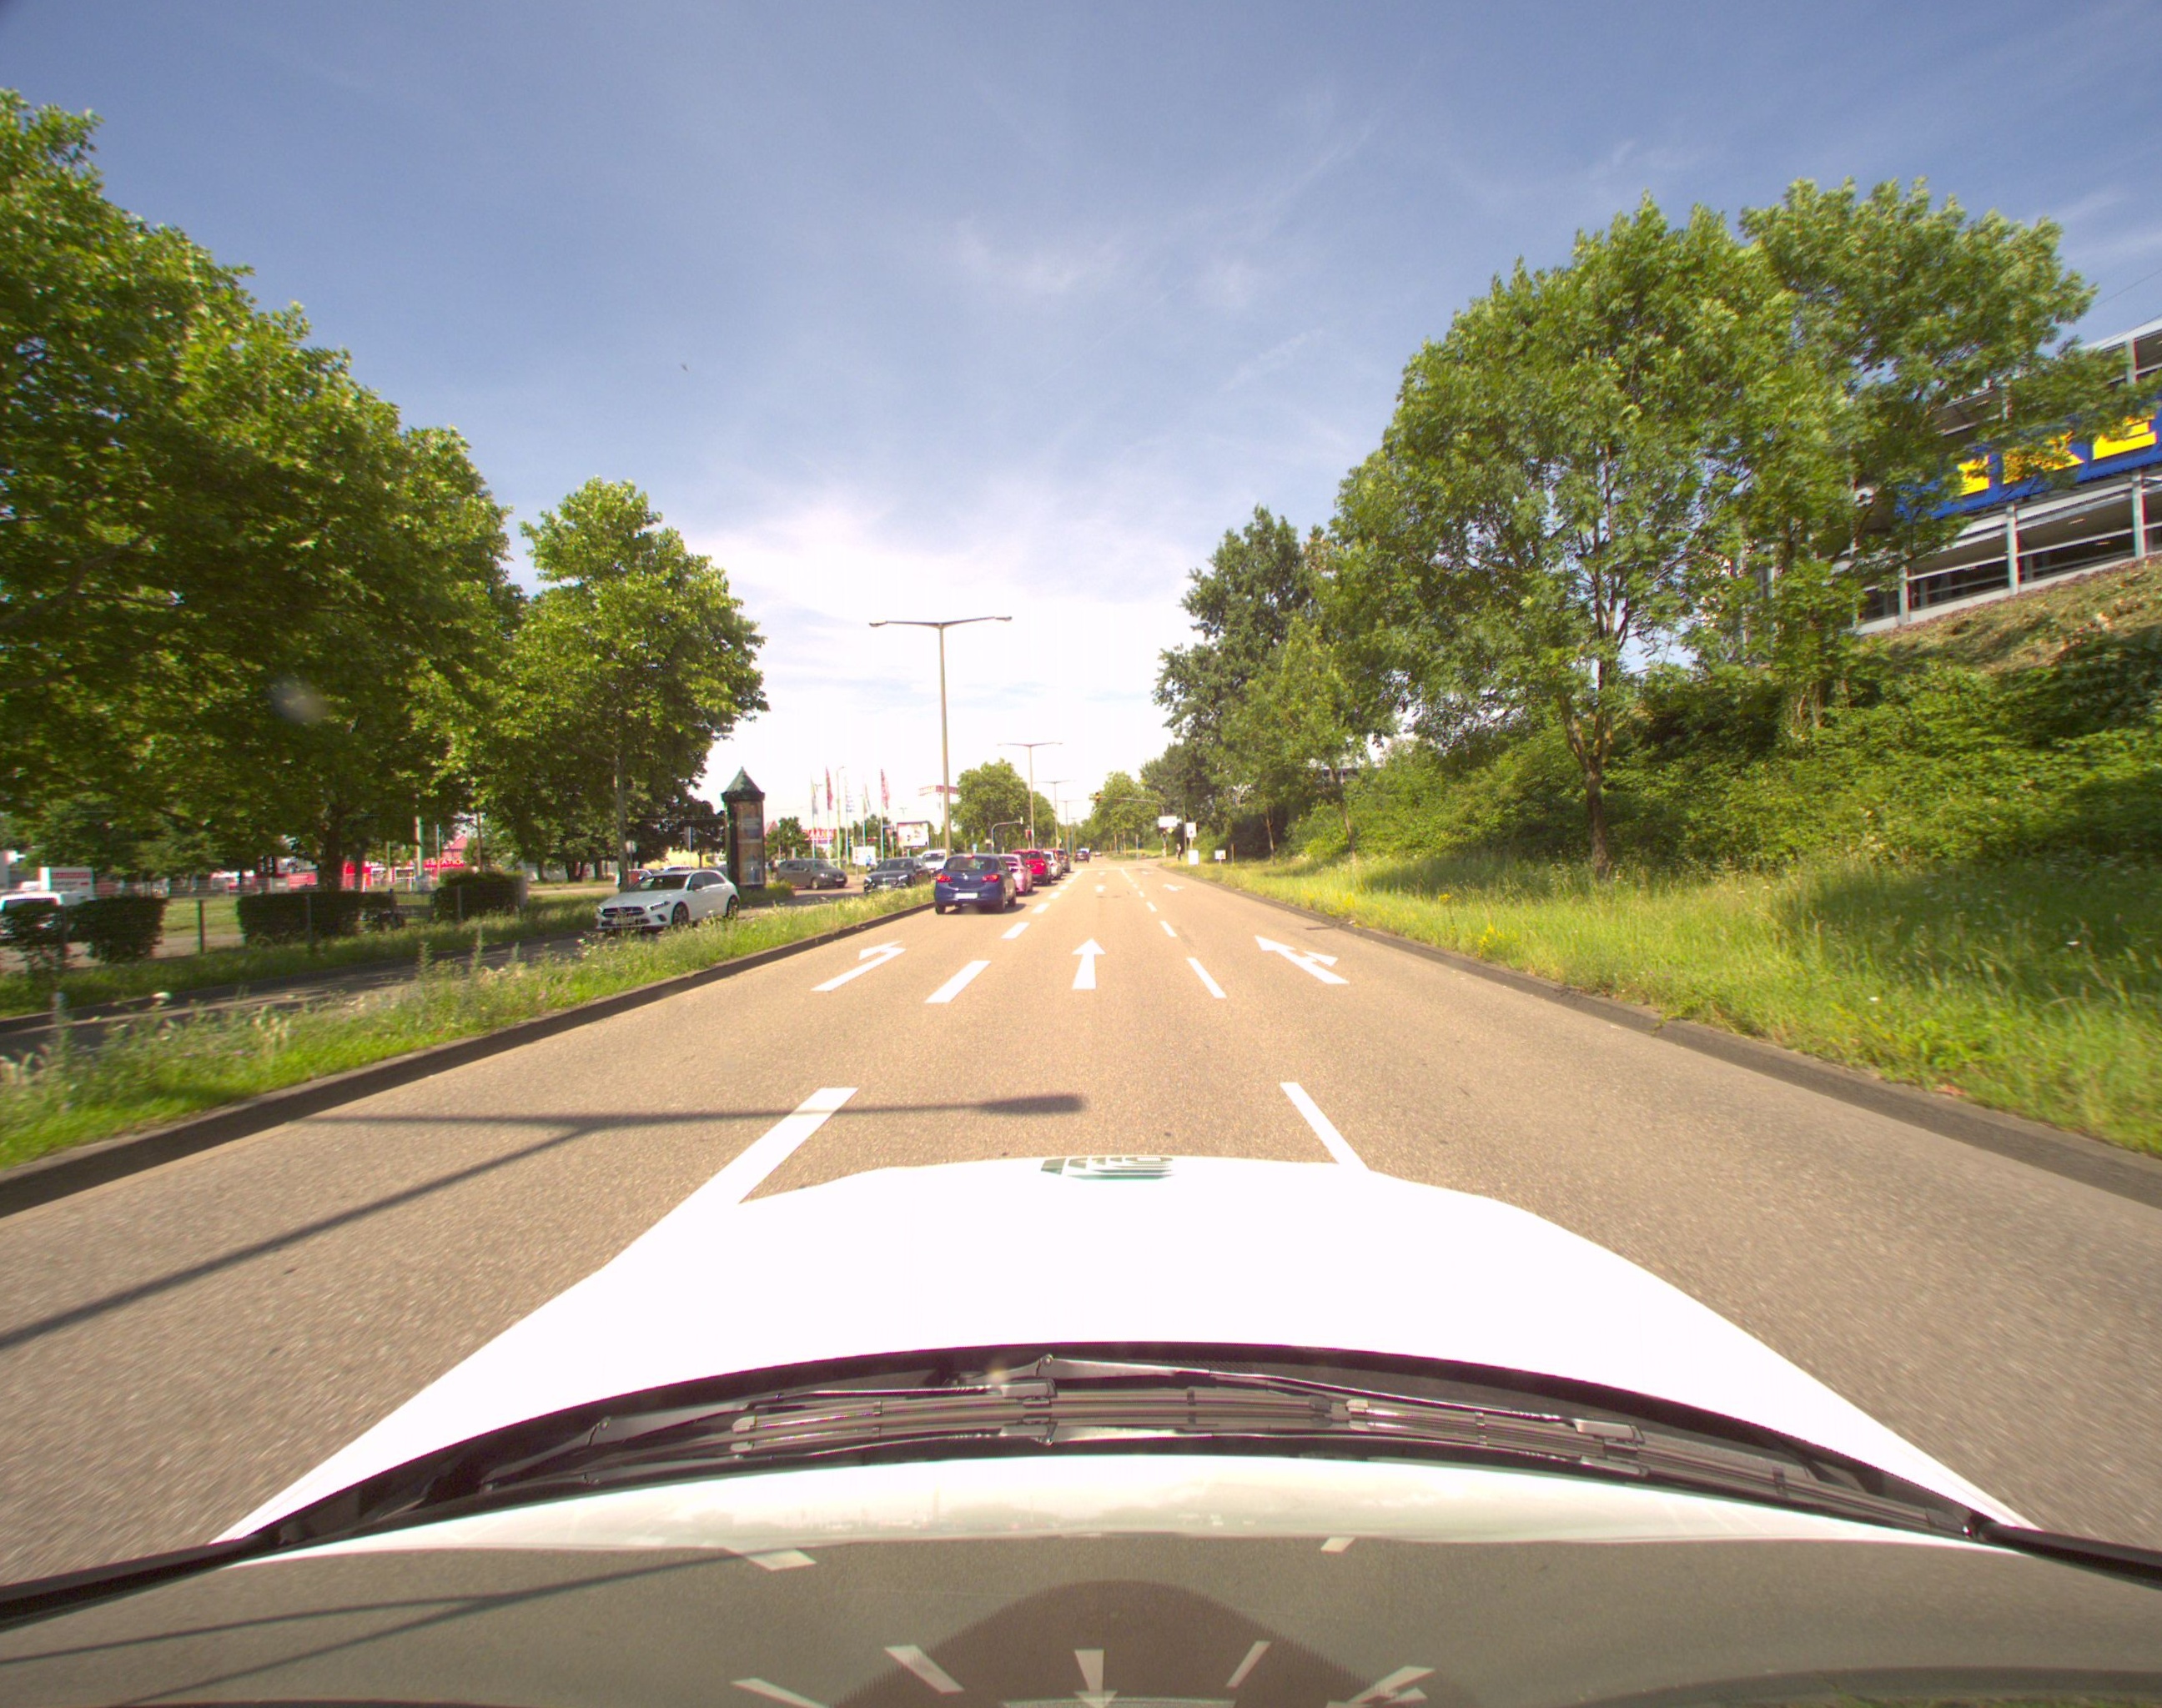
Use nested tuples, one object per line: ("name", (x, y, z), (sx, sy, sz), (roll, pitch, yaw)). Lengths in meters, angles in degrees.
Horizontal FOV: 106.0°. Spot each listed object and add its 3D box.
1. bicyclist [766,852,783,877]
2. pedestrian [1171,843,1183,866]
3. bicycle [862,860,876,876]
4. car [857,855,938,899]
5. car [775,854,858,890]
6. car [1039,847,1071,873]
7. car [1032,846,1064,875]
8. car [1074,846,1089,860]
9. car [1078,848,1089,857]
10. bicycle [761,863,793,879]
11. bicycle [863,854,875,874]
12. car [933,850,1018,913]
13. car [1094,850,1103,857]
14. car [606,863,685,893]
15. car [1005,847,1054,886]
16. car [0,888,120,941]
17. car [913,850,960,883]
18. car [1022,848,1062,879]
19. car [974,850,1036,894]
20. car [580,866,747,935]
("bicyclist", (-21.961, 0.714, 58.341), (0.904, 1.715, 0.774), (-3, 3, -35))
("pedestrian", (8.156, 0.015, 69.195), (0.835, 1.932, 0.771), (-2, 2, -2))
("bicycle", (-17.797, 1.145, 68.463), (0.671, 1.256, 2.244), (-3, 0, -4))
("car", (-7.281, 0.874, 32.772), (1.986, 1.530, 4.684), (-3, 0, 2))
("car", (-14.537, 0.995, 44.683), (4.343, 1.750, 1.881), (-3, 0, 31))
("car", (-1.721, 0.384, 55.312), (1.875, 1.618, 4.213), (-2, 0, 1))
("car", (-1.965, 0.411, 48.857), (1.623, 1.596, 3.918), (-2, -1, 1))
("car", (0.095, -0.118, 105.416), (1.730, 1.535, 4.003), (-2, 2, 2))
("car", (0.502, -0.238, 162.248), (1.986, 1.708, 4.265), (-2, 0, 2))
("bicycle", (-21.821, 1.233, 58.444), (1.962, 0.983, 0.781), (-3, 3, -35))
("bicycle", (-17.816, 0.812, 68.471), (0.671, 1.615, 0.991), (-3, 0, -4))
("car", (-2.647, 0.648, 21.323), (1.620, 1.483, 4.049), (0, 0, 1))
("car", (4.157, -0.099, 191.439), (1.861, 1.574, 4.001), (-3, 0, 2))
("car", (-27.022, 1.471, 50.581), (4.121, 1.603, 1.729), (-3, 0, 13))
("car", (-2.218, 0.503, 36.060), (1.776, 1.593, 4.594), (-1, 0, 1))
("car", (-37.936, 2.185, 30.180), (2.010, 1.665, 4.789), (-3, 0, -38))
("car", (-9.555, 0.776, 54.156), (1.986, 2.013, 5.215), (-3, 0, 1))
("car", (-1.971, 0.462, 42.357), (1.760, 1.479, 4.136), (-1, 0, 1))
("car", (-2.615, 0.578, 28.907), (1.696, 1.390, 4.473), (0, 0, 1))
("car", (-10.254, 1.067, 20.438), (1.780, 1.398, 4.360), (-3, 0, 2))
